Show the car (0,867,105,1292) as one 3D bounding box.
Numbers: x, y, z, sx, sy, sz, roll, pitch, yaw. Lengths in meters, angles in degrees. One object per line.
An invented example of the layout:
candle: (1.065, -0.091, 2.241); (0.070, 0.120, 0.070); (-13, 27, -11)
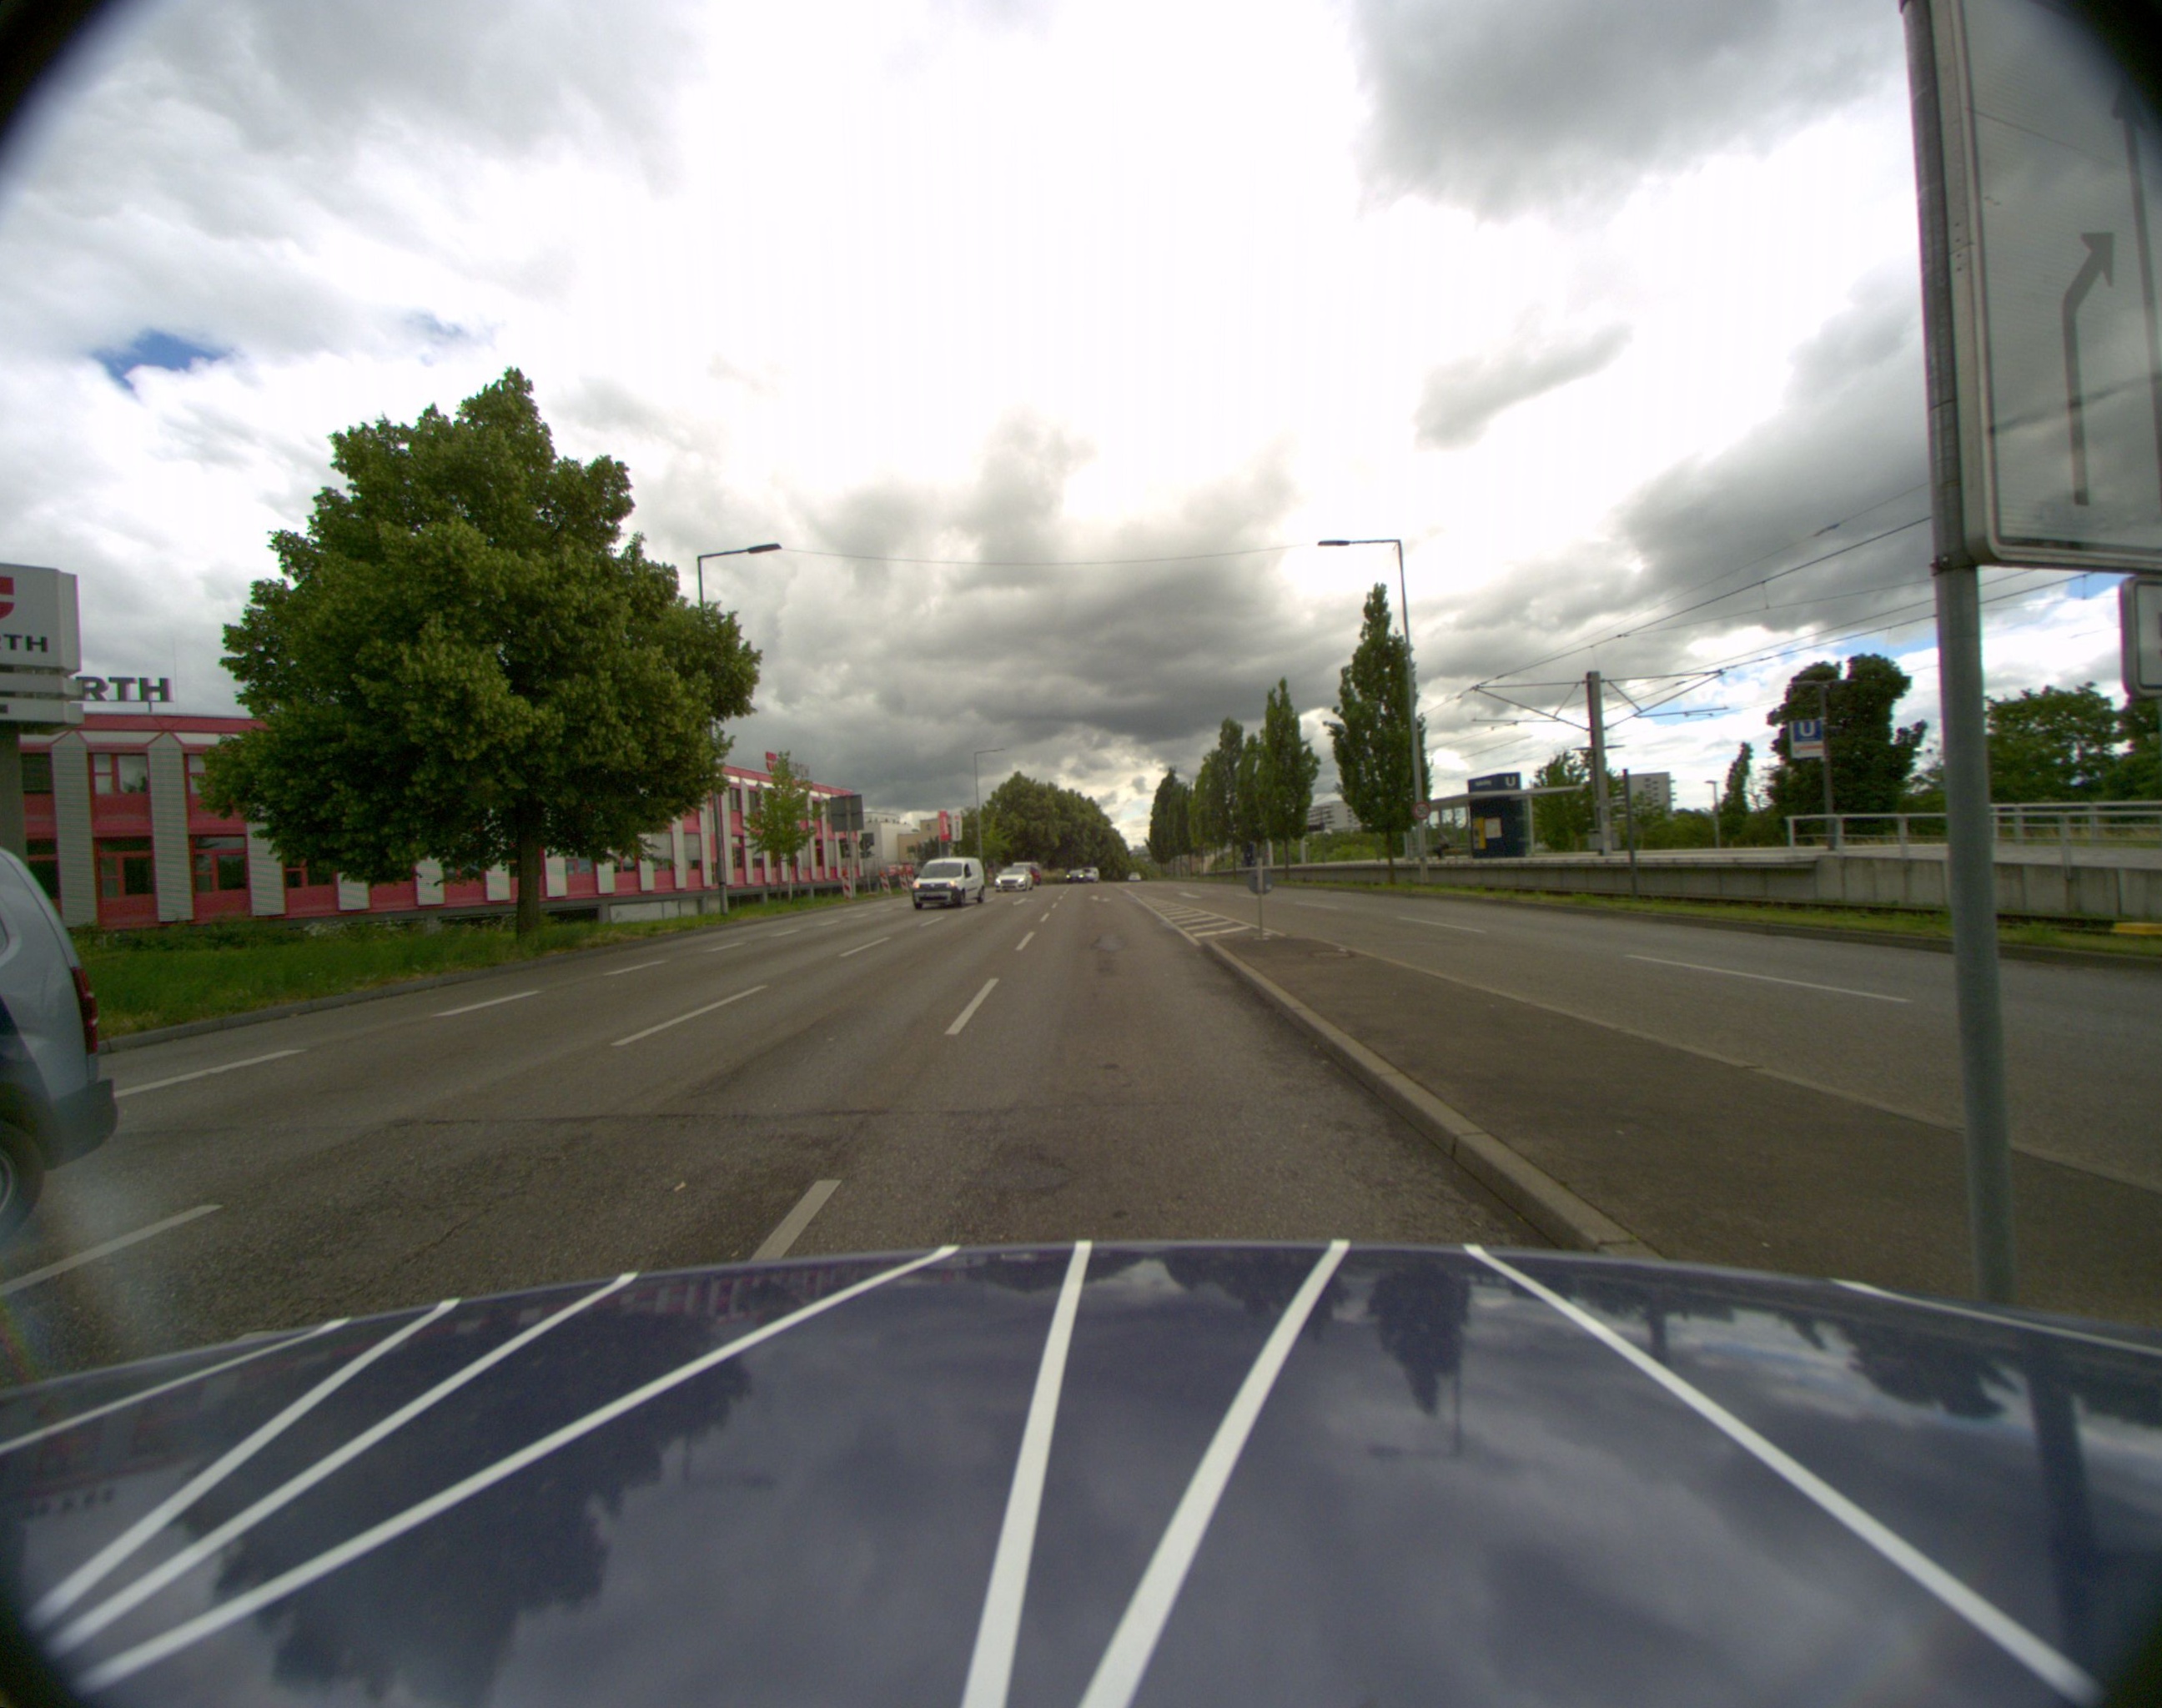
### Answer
car: (-5.505, 0.985, 1.411); (1.813, 1.769, 4.222); (-2, 0, 2)

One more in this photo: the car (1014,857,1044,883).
car: (-4.299, 1.380, 63.632); (2.184, 1.893, 4.456); (-2, -3, -1)

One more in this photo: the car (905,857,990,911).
car: (-4.834, 1.057, 28.294); (1.812, 1.781, 4.699); (-2, -1, 6)

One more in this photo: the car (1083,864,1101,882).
car: (1.395, 2.296, 91.104); (1.949, 1.895, 5.238); (-2, 0, 2)

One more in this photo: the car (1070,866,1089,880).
car: (-0.112, 2.013, 80.528); (1.813, 1.332, 4.225); (-2, -3, 2)

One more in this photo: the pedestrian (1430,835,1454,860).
pedestrian: (17.697, -0.307, 37.240); (0.751, 1.169, 0.837); (-2, 1, 0)

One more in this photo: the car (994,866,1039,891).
car: (-3.801, 1.504, 45.369); (1.812, 1.332, 4.226); (-2, -3, 6)

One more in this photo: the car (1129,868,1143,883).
car: (8.097, 3.145, 112.038); (1.998, 2.002, 4.000); (-2, 0, 3)
